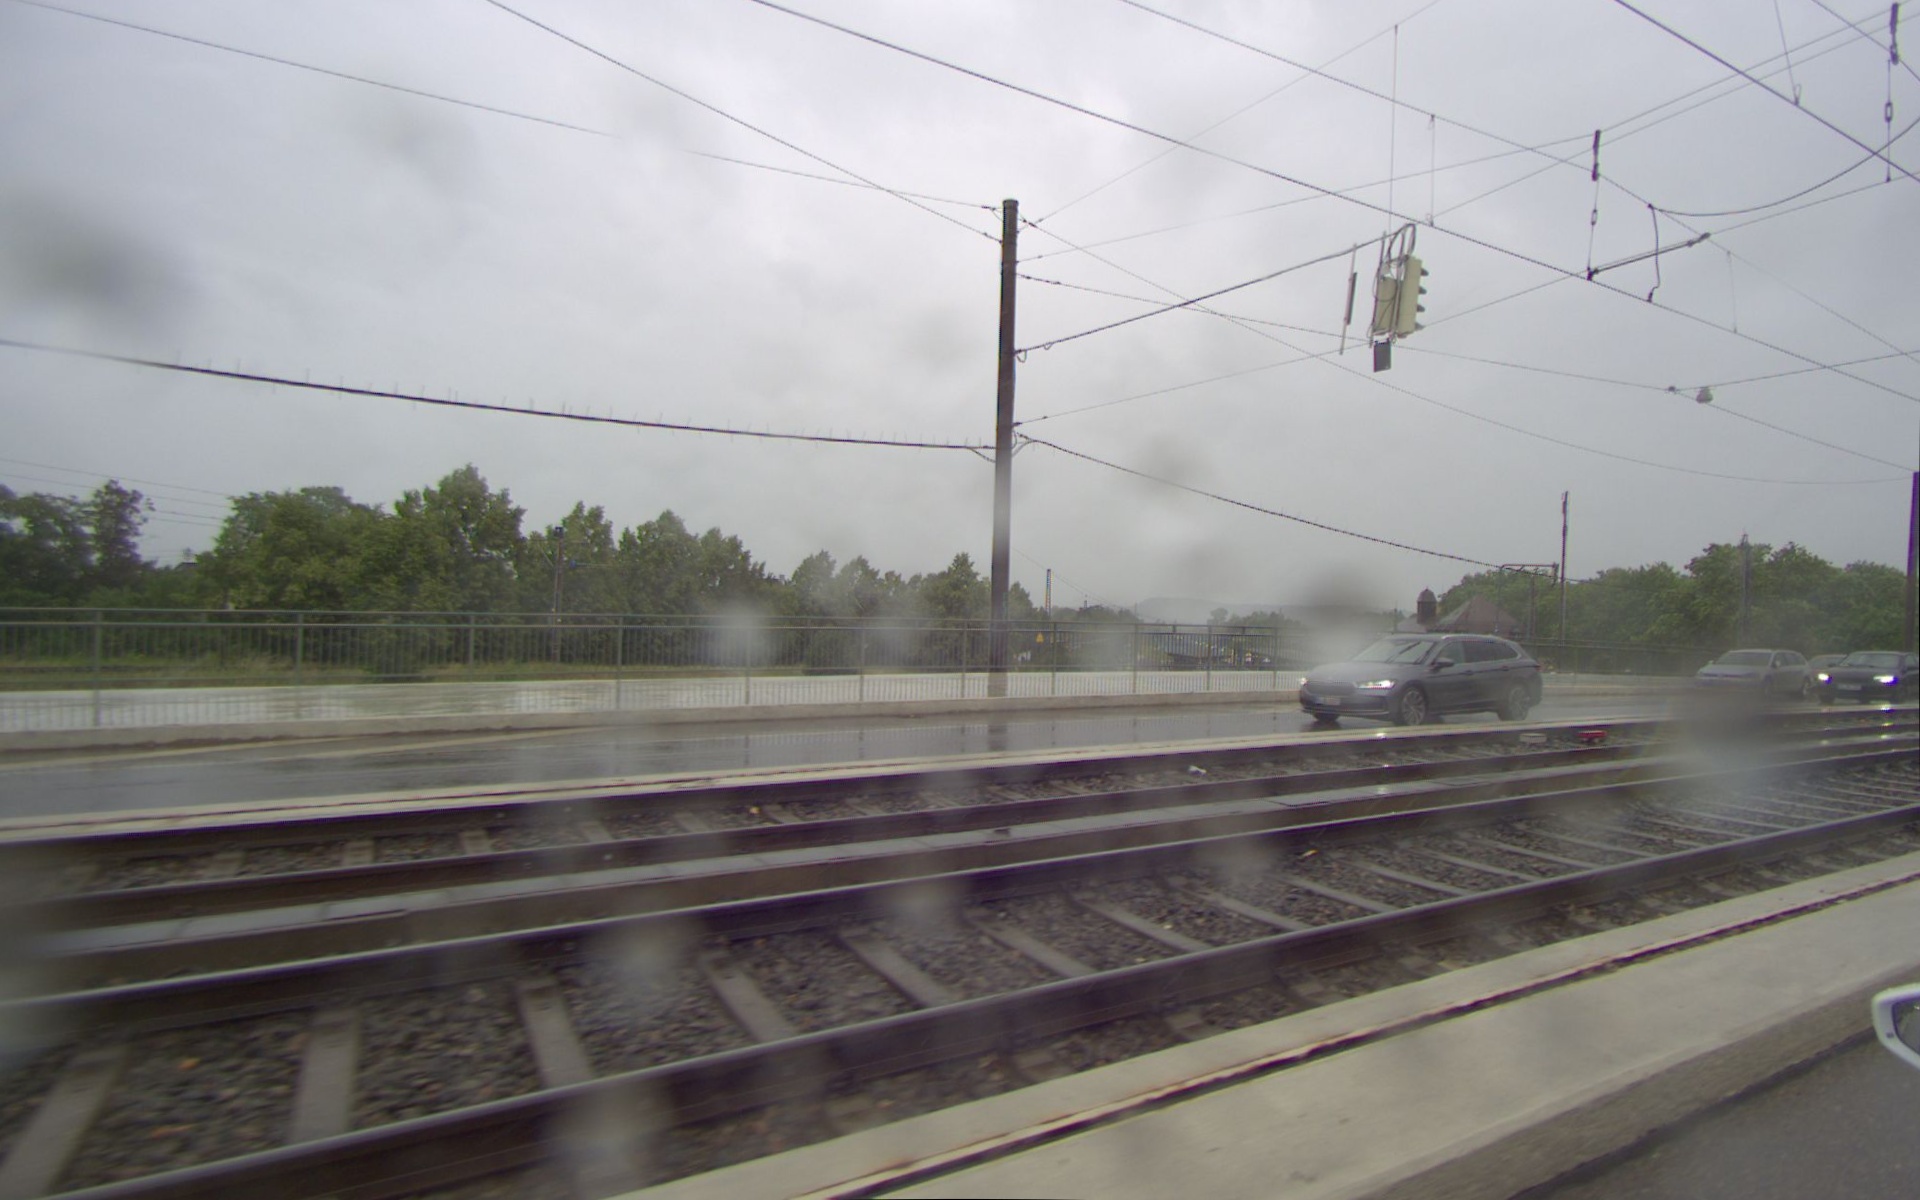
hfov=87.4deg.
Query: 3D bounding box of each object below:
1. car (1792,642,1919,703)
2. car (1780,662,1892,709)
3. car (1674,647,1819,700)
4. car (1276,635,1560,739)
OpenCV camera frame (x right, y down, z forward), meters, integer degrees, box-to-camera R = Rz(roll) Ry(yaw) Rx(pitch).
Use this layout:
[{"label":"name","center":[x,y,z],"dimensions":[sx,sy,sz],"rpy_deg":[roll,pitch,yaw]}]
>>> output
[{"label":"car","center":[24.850,1.989,27.512],"dimensions":[4.046,1.529,1.984],"rpy_deg":[3,-4,-31]},{"label":"car","center":[29.327,2.856,33.602],"dimensions":[4.274,1.474,1.612],"rpy_deg":[3,-4,-31]},{"label":"car","center":[23.988,2.242,30.603],"dimensions":[4.568,1.474,1.984],"rpy_deg":[3,-4,-31]},{"label":"car","center":[7.846,1.450,17.024],"dimensions":[5.059,1.529,1.983],"rpy_deg":[4,-4,-33]}]
